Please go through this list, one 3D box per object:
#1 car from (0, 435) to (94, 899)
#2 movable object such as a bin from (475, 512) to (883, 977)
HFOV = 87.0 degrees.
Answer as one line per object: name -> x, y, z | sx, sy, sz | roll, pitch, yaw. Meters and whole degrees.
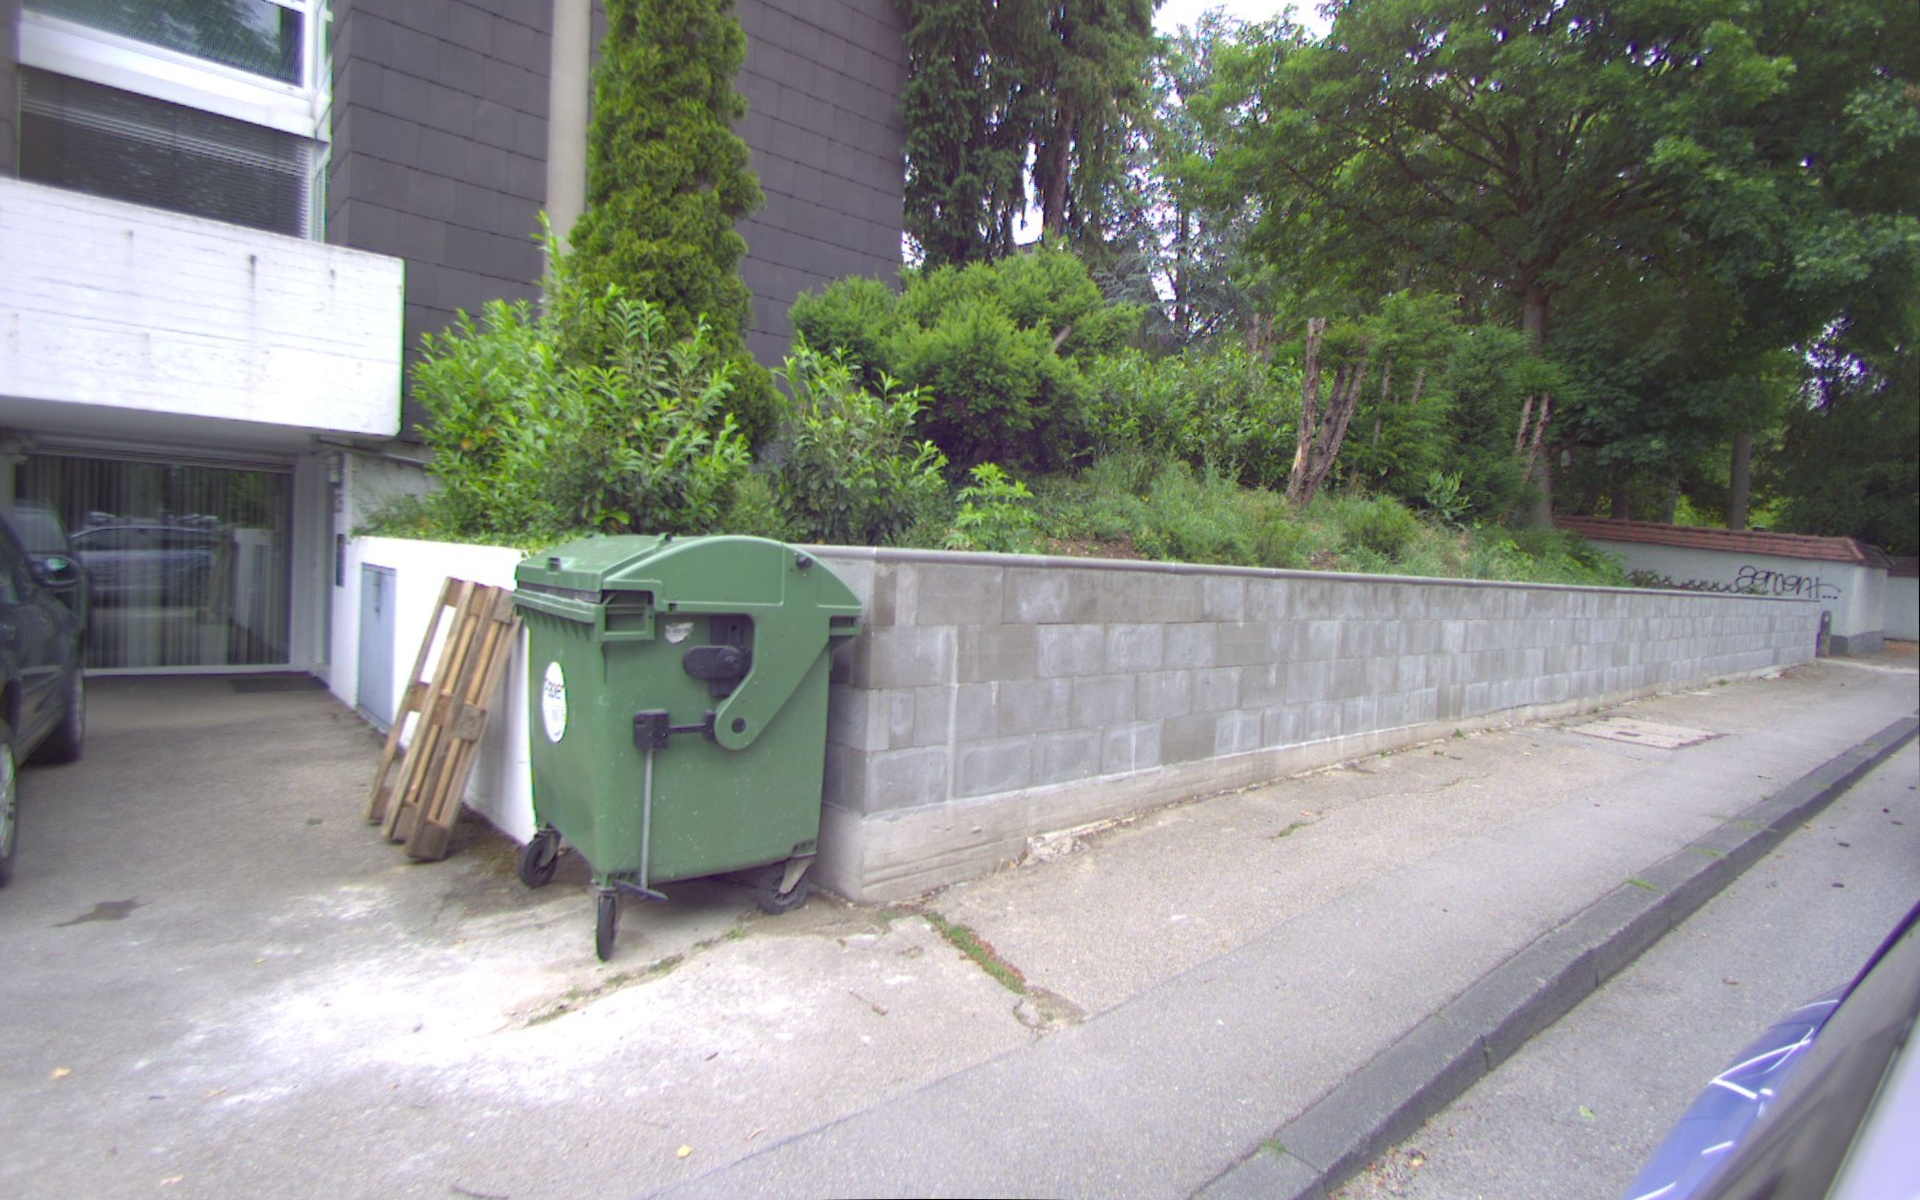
car -> -5.039, 0.150, 4.349 | 1.712, 1.671, 3.914 | 0, 4, -36
movable object such as a bin -> -1.174, 0.417, 4.076 | 1.096, 1.469, 1.407 | 0, 3, -40
